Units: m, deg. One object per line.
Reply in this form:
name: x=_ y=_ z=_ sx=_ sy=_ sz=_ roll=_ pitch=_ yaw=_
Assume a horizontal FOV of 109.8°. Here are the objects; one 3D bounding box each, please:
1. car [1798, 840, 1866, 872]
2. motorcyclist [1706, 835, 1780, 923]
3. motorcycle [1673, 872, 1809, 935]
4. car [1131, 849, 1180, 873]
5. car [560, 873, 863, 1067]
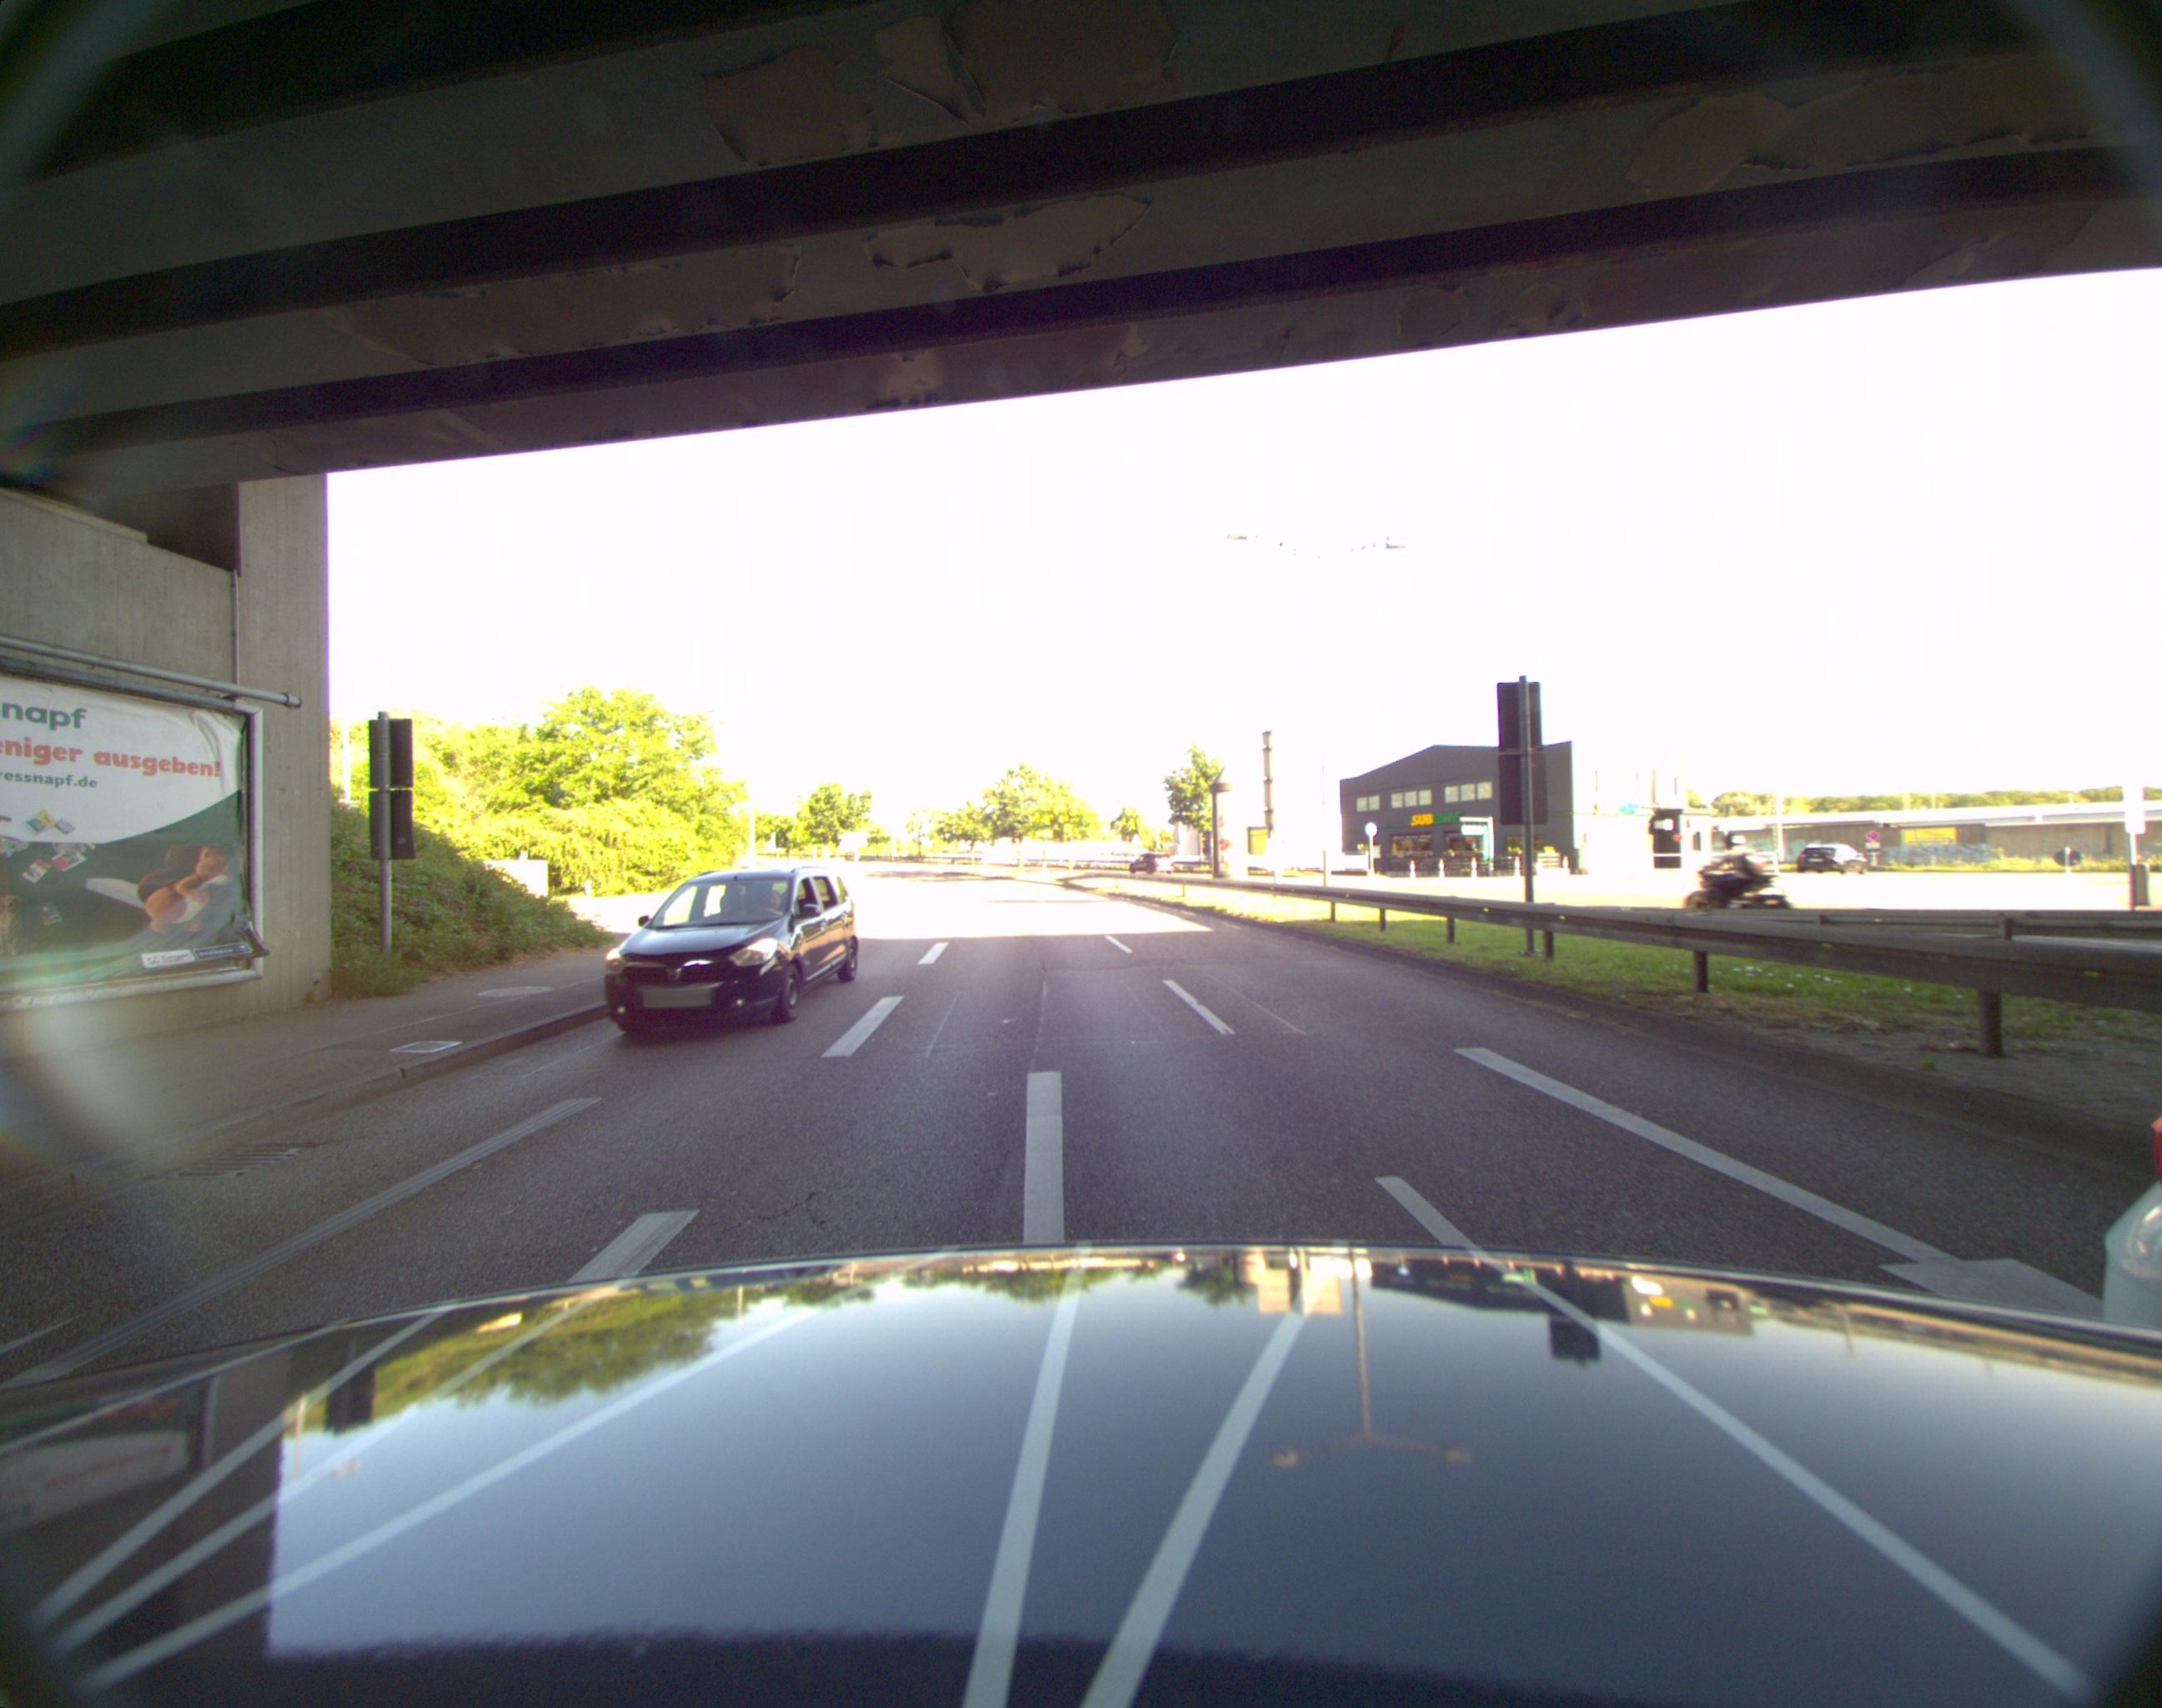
car: x=38.499 y=0.089 z=38.945 sx=4.007 sy=1.434 sz=1.878 roll=-3 pitch=1 yaw=-37
motorcyclist: x=11.923 y=0.440 z=13.709 sx=0.698 sy=1.519 sz=0.698 roll=-1 pitch=0 yaw=0
motorcycle: x=11.926 y=0.856 z=13.829 sx=0.694 sy=1.021 sz=2.009 roll=-2 pitch=0 yaw=0
car: x=5.441 y=0.504 z=55.763 sx=1.859 sy=1.607 sz=4.357 roll=-3 pitch=1 yaw=-19
car: x=-3.934 y=1.096 z=8.968 sx=1.779 sy=1.591 sz=4.103 roll=-3 pitch=0 yaw=-5
